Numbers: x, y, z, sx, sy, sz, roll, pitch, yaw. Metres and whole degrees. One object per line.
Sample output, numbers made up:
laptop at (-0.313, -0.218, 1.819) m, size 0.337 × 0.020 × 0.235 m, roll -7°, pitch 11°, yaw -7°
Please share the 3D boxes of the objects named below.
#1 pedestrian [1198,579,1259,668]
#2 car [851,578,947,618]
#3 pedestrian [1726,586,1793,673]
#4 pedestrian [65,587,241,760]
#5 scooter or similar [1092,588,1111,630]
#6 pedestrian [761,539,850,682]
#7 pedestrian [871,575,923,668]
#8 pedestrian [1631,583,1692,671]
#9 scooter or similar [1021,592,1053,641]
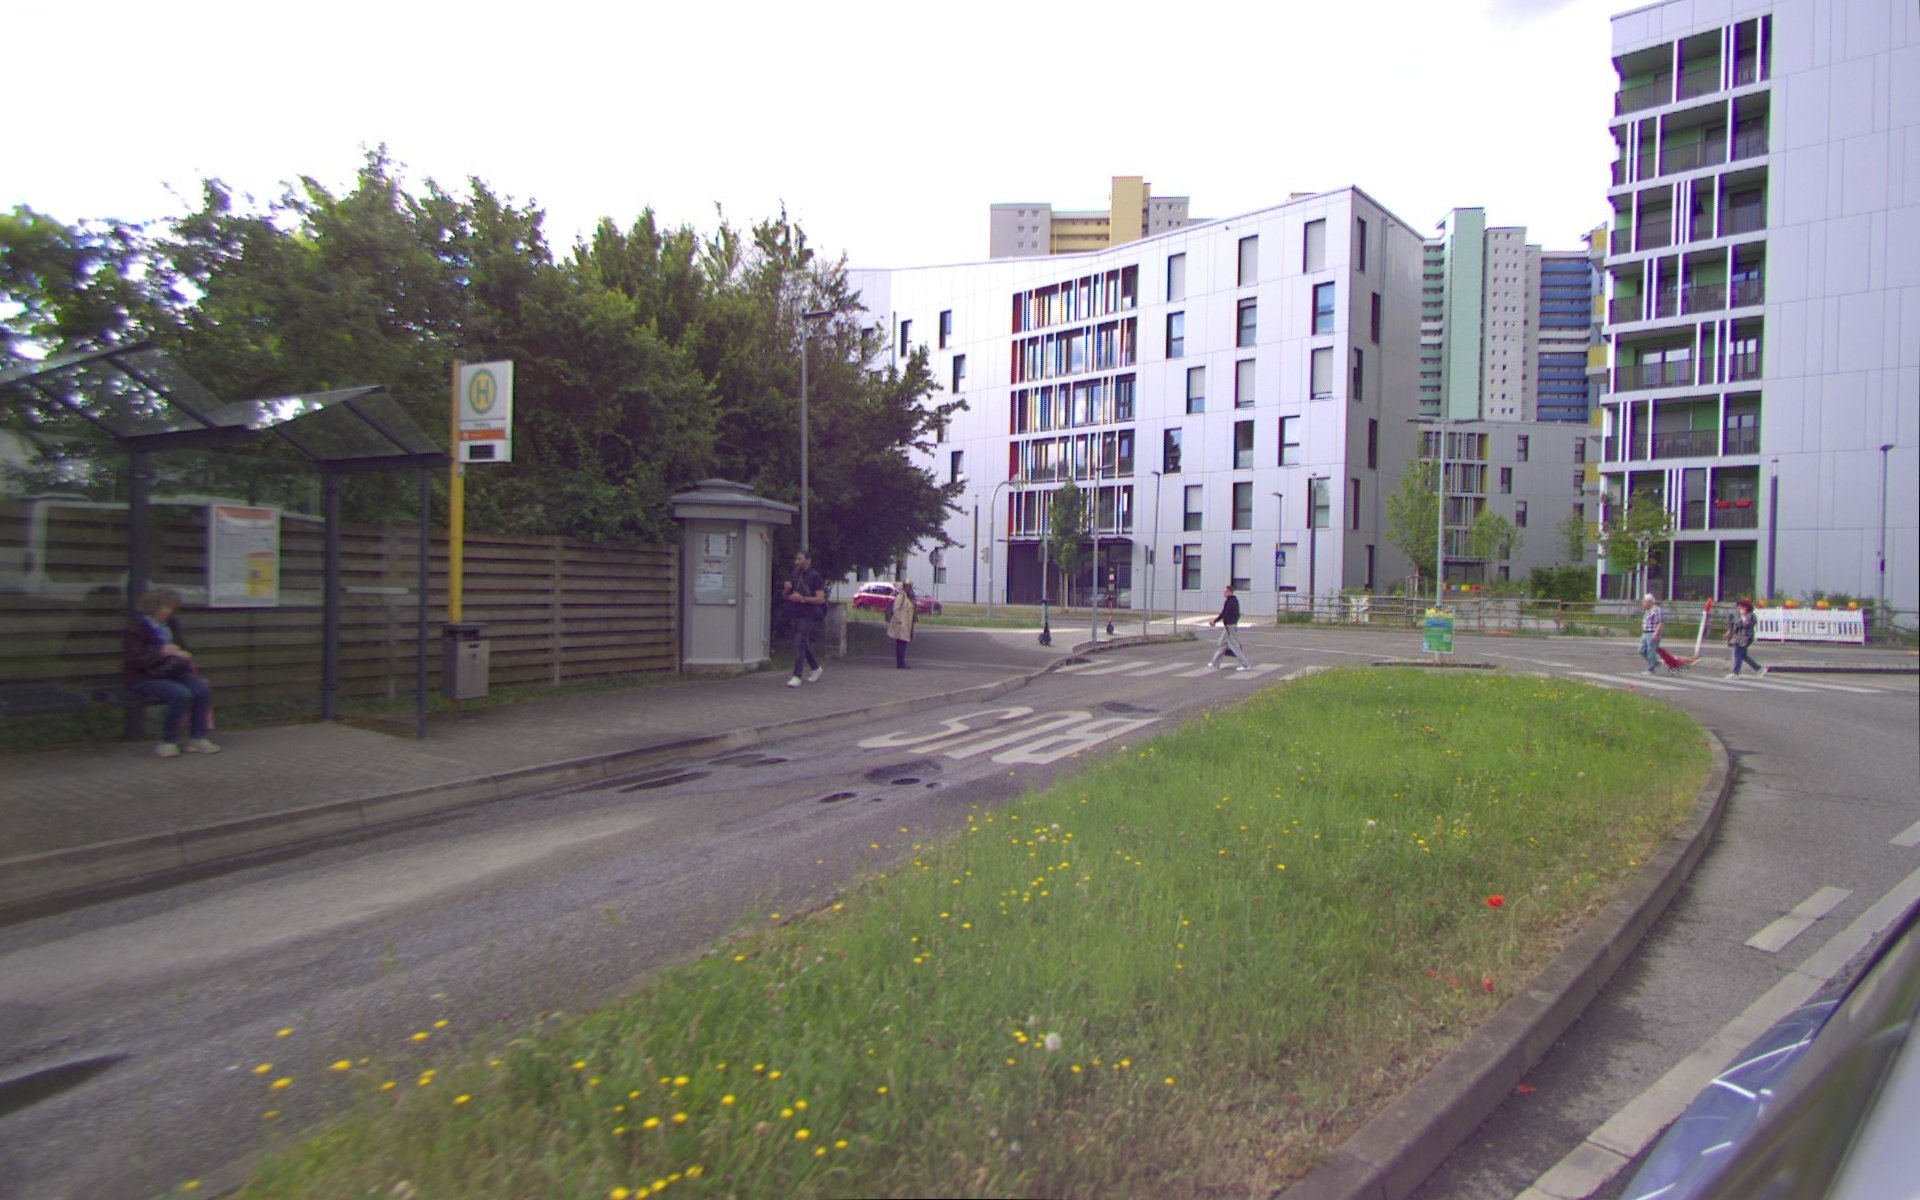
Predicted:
pedestrian at (5.551, 0.455, 20.917) m, size 1.051 × 1.769 × 0.949 m, roll 1°, pitch 1°, yaw 26°
car at (-2.791, -0.140, 46.015) m, size 4.224 × 1.651 × 1.907 m, roll 2°, pitch 3°, yaw 40°
pedestrian at (15.119, 0.544, 19.146) m, size 0.678 × 1.586 × 0.734 m, roll 0°, pitch 1°, yaw -24°
pedestrian at (-5.961, 0.501, 7.494) m, size 0.742 × 1.184 × 0.765 m, roll 1°, pitch 1°, yaw 23°
scooter or similar at (4.628, 0.273, 33.107) m, size 0.563 × 1.329 × 1.522 m, roll 1°, pitch 1°, yaw 8°
pedestrian at (-2.076, 0.147, 13.703) m, size 0.844 × 1.846 × 0.980 m, roll 1°, pitch -2°, yaw 13°
pedestrian at (-1.134, 0.368, 18.238) m, size 0.678 × 1.614 × 0.766 m, roll 1°, pitch 1°, yaw 20°
pedestrian at (13.856, 0.514, 19.987) m, size 0.685 × 1.653 × 0.724 m, roll -2°, pitch 3°, yaw -29°
scooter or similar at (2.165, 0.441, 28.468) m, size 0.609 × 1.290 × 1.498 m, roll 1°, pitch 2°, yaw -6°
